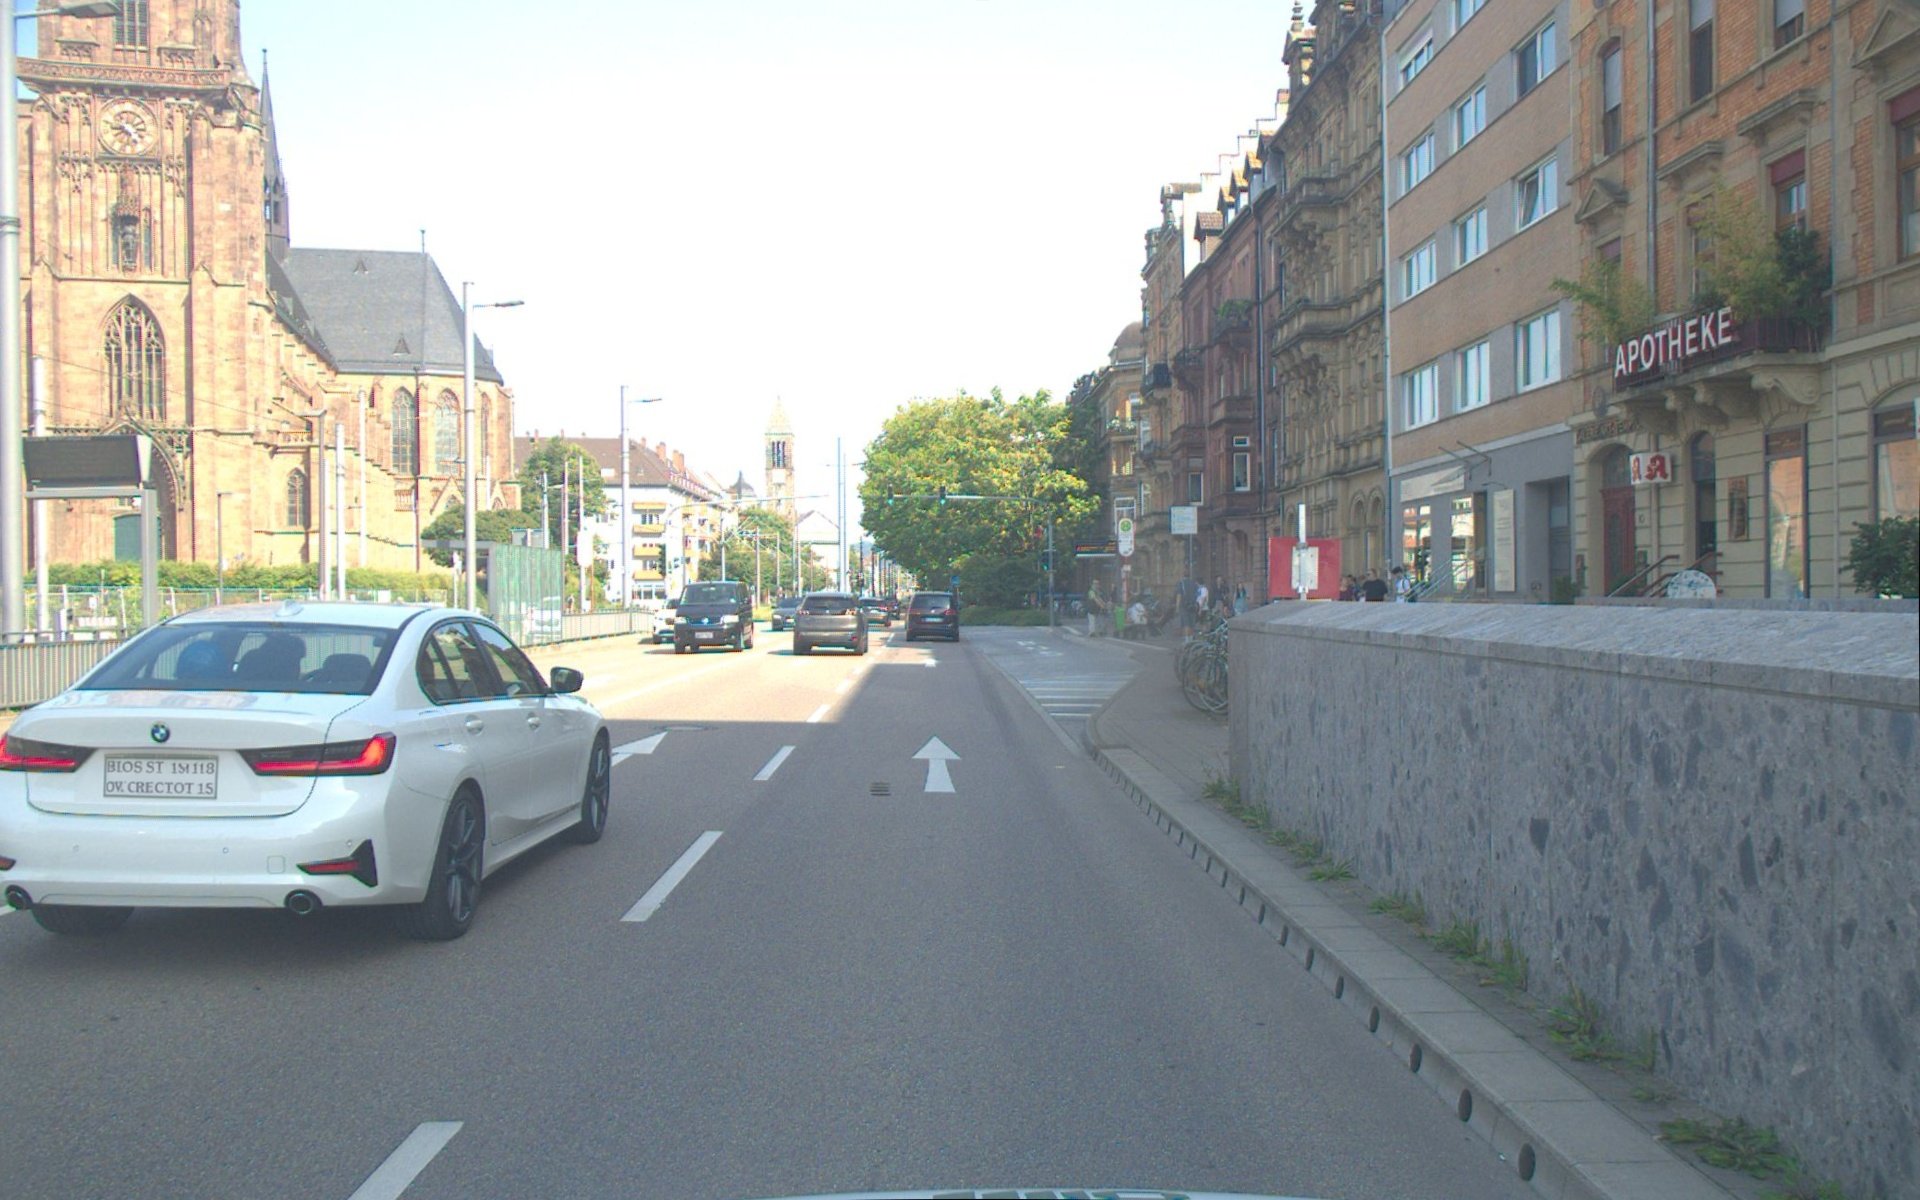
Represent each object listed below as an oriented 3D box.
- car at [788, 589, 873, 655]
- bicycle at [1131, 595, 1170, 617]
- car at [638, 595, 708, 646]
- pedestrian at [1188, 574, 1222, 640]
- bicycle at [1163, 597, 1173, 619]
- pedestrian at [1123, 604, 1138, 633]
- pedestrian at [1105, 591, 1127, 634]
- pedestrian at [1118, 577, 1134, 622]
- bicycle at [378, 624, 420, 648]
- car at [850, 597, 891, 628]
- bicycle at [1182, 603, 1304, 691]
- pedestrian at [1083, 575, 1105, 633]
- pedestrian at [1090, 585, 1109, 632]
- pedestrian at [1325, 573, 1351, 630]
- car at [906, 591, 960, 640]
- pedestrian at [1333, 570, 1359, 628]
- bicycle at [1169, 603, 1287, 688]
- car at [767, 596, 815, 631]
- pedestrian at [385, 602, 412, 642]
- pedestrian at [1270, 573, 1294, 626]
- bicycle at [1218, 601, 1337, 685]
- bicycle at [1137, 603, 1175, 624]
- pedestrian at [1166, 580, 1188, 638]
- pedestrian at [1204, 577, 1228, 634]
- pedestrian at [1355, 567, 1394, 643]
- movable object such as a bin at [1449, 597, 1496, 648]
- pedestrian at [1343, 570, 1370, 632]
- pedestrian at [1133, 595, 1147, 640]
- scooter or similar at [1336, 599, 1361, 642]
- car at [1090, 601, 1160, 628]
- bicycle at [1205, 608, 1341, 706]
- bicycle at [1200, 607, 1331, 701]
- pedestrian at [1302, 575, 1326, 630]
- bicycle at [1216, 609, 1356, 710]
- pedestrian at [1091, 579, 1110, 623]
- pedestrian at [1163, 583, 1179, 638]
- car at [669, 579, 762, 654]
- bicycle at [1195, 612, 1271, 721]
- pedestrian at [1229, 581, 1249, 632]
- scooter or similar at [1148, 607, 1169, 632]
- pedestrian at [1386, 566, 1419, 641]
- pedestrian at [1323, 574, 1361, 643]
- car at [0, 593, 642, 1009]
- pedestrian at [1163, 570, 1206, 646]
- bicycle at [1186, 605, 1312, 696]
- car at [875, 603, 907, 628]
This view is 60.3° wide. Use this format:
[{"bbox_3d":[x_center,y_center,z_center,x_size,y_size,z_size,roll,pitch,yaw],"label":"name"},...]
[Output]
[{"bbox_3d":[-3.355,0.535,43.589,1.953,1.649,4.356,1,0,-1],"label":"car"},{"bbox_3d":[9.811,0.308,85.198,1.891,1.066,0.499,-1,0,-7],"label":"bicycle"},{"bbox_3d":[-10.040,0.682,58.135,1.678,1.639,4.503,-2,0,-1],"label":"car"},{"bbox_3d":[6.639,0.193,44.794,0.735,1.759,0.800,-1,0,-4],"label":"pedestrian"},{"bbox_3d":[10.520,0.414,83.646,0.408,1.066,1.671,-1,0,4],"label":"bicycle"},{"bbox_3d":[5.037,0.539,48.999,0.297,0.834,0.603,-1,0,-8],"label":"pedestrian"},{"bbox_3d":[4.799,0.382,50.764,0.554,1.300,0.596,-1,0,-5],"label":"pedestrian"},{"bbox_3d":[6.503,-0.029,64.823,0.471,1.731,0.702,-1,0,-4],"label":"pedestrian"},{"bbox_3d":[-24.369,1.567,71.850,1.721,0.995,0.480,-1,0,12],"label":"bicycle"},{"bbox_3d":[-4.365,0.599,81.213,1.826,1.449,4.356,1,0,-1],"label":"car"},{"bbox_3d":[3.905,0.643,22.821,1.601,1.168,0.385,-1,0,-6],"label":"bicycle"},{"bbox_3d":[4.105,0.119,50.773,0.554,1.759,0.745,-1,0,-4],"label":"pedestrian"},{"bbox_3d":[4.884,0.297,57.979,0.517,1.640,0.702,-1,0,-4],"label":"pedestrian"},{"bbox_3d":[11.423,0.043,49.965,0.591,1.721,0.586,-1,0,-4],"label":"pedestrian"},{"bbox_3d":[-0.928,0.507,57.667,1.794,1.649,4.356,1,0,-1],"label":"car"},{"bbox_3d":[11.481,-0.030,49.228,0.591,1.721,0.586,-1,0,-4],"label":"pedestrian"},{"bbox_3d":[3.799,0.636,23.465,1.601,1.168,0.385,-1,0,-6],"label":"bicycle"},{"bbox_3d":[-7.210,0.553,70.906,1.678,1.354,4.520,-2,0,-1],"label":"car"},{"bbox_3d":[-24.387,0.961,71.855,0.897,1.709,0.603,-1,0,12],"label":"pedestrian"},{"bbox_3d":[10.762,-0.022,55.318,0.617,1.749,0.690,-1,0,-1],"label":"pedestrian"},{"bbox_3d":[4.613,0.617,24.104,1.599,1.168,0.601,-1,0,1],"label":"bicycle"},{"bbox_3d":[10.182,0.692,86.131,1.891,1.066,0.499,-1,0,-7],"label":"bicycle"},{"bbox_3d":[6.658,0.258,50.724,0.554,1.759,0.617,-1,0,-4],"label":"pedestrian"},{"bbox_3d":[8.369,0.185,54.117,0.604,1.835,1.071,-1,0,0],"label":"pedestrian"},{"bbox_3d":[10.001,0.122,39.921,0.705,1.818,0.856,-1,0,0],"label":"pedestrian"},{"bbox_3d":[11.247,0.487,36.286,0.725,1.099,0.666,-1,0,-18],"label":"movable object such as a bin"},{"bbox_3d":[11.540,0.028,48.145,0.591,1.761,0.510,-1,0,-5],"label":"pedestrian"},{"bbox_3d":[5.190,0.493,47.642,0.270,1.296,0.447,-1,0,-8],"label":"pedestrian"},{"bbox_3d":[11.047,0.574,47.036,0.353,1.183,1.151,-1,0,-4],"label":"scooter or similar"},{"bbox_3d":[10.387,0.918,104.571,4.099,1.590,1.998,-1,0,-6],"label":"car"},{"bbox_3d":[3.866,0.694,20.468,1.601,1.168,0.385,-1,0,-6],"label":"bicycle"},{"bbox_3d":[3.929,0.685,21.308,1.601,1.168,0.385,-1,0,-6],"label":"bicycle"},{"bbox_3d":[11.125,0.073,51.973,0.591,1.683,0.586,-1,0,-4],"label":"pedestrian"},{"bbox_3d":[3.939,0.709,19.981,1.601,1.168,0.385,-1,0,-6],"label":"bicycle"},{"bbox_3d":[5.552,0.042,65.373,0.676,1.693,0.619,-1,0,-1],"label":"pedestrian"},{"bbox_3d":[6.880,0.334,53.911,0.334,1.763,0.805,-1,0,-4],"label":"pedestrian"},{"bbox_3d":[-6.812,0.425,46.572,1.953,1.937,4.715,-2,0,-1],"label":"car"},{"bbox_3d":[3.087,0.727,18.816,0.399,1.168,1.654,-1,0,-7],"label":"bicycle"},{"bbox_3d":[9.138,0.208,54.146,0.476,1.638,0.812,-1,0,0],"label":"pedestrian"},{"bbox_3d":[6.077,0.606,50.700,0.554,0.754,0.514,-1,0,-4],"label":"scooter or similar"},{"bbox_3d":[11.266,0.084,42.144,0.591,1.863,0.742,-1,0,-4],"label":"pedestrian"},{"bbox_3d":[9.239,0.197,40.001,0.705,1.638,0.856,-1,0,0],"label":"pedestrian"},{"bbox_3d":[-2.984,0.723,8.417,1.772,1.452,4.774,1,0,0],"label":"car"},{"bbox_3d":[5.584,0.189,41.172,0.907,1.863,0.800,-1,0,-5],"label":"pedestrian"},{"bbox_3d":[3.873,0.666,22.167,1.601,1.168,0.385,-1,0,-6],"label":"bicycle"},{"bbox_3d":[-4.234,0.925,101.398,1.826,1.449,4.356,1,0,-1],"label":"car"}]
